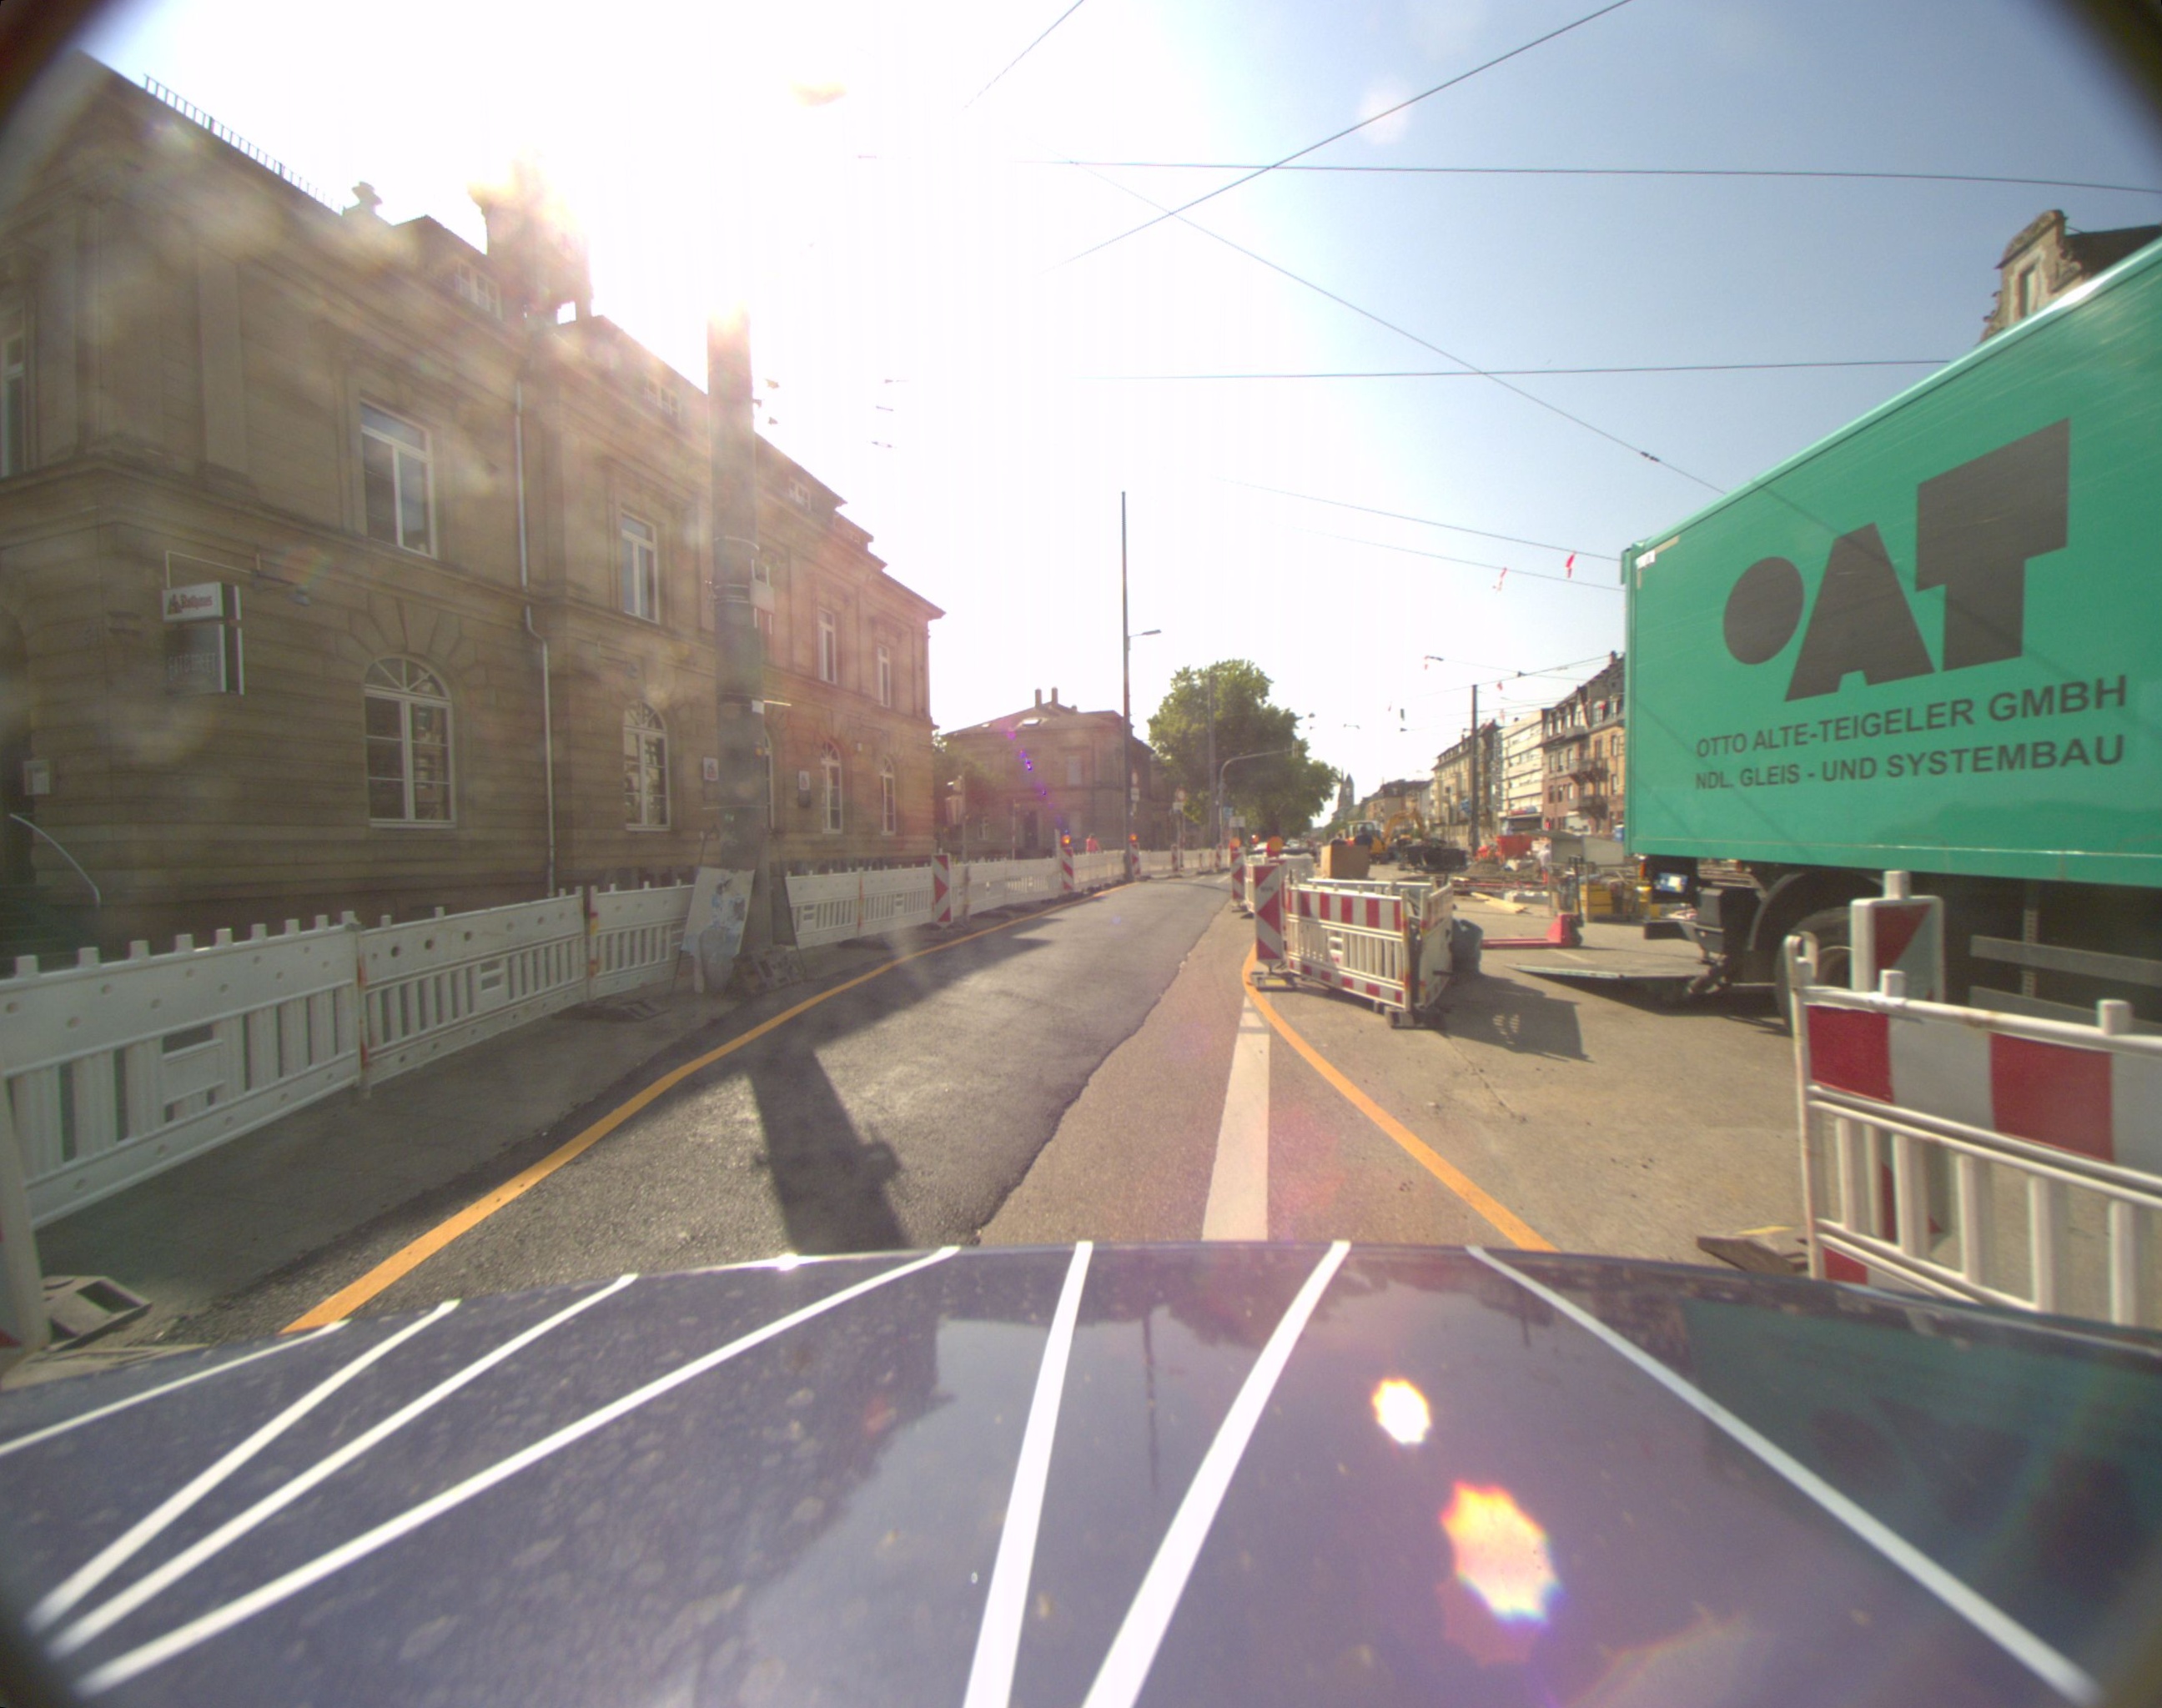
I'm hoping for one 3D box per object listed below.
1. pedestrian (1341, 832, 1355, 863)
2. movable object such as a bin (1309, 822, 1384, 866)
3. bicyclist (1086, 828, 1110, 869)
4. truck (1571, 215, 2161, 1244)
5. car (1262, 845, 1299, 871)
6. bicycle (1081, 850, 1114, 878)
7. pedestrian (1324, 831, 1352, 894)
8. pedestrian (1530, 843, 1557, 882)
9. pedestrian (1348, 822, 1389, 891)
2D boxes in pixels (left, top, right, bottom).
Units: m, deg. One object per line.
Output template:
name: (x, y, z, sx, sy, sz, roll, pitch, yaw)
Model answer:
pedestrian: (15.026, -0.380, 42.791, 0.700, 1.729, 0.914, 0, 2, 22)
movable object such as a bin: (15.529, -0.636, 44.621, 3.170, 2.396, 2.917, 1, 3, -4)
bicyclist: (0.662, -0.219, 29.925, 0.735, 1.616, 0.854, 0, 2, 16)
truck: (5.301, -0.448, 2.135, 2.813, 3.767, 9.018, 0, 1, 6)
car: (11.619, 0.207, 44.112, 1.996, 1.387, 4.004, 0, 1, 16)
bicycle: (0.660, 0.362, 29.906, 0.742, 1.026, 2.134, 0, 1, 16)
pedestrian: (7.304, 0.227, 21.608, 0.719, 1.765, 0.466, 0, 2, 12)
pedestrian: (14.919, 0.254, 24.513, 0.548, 1.240, 0.547, -1, 1, -1)
pedestrian: (7.863, 0.059, 20.793, 0.919, 1.830, 0.802, 0, 2, 11)
